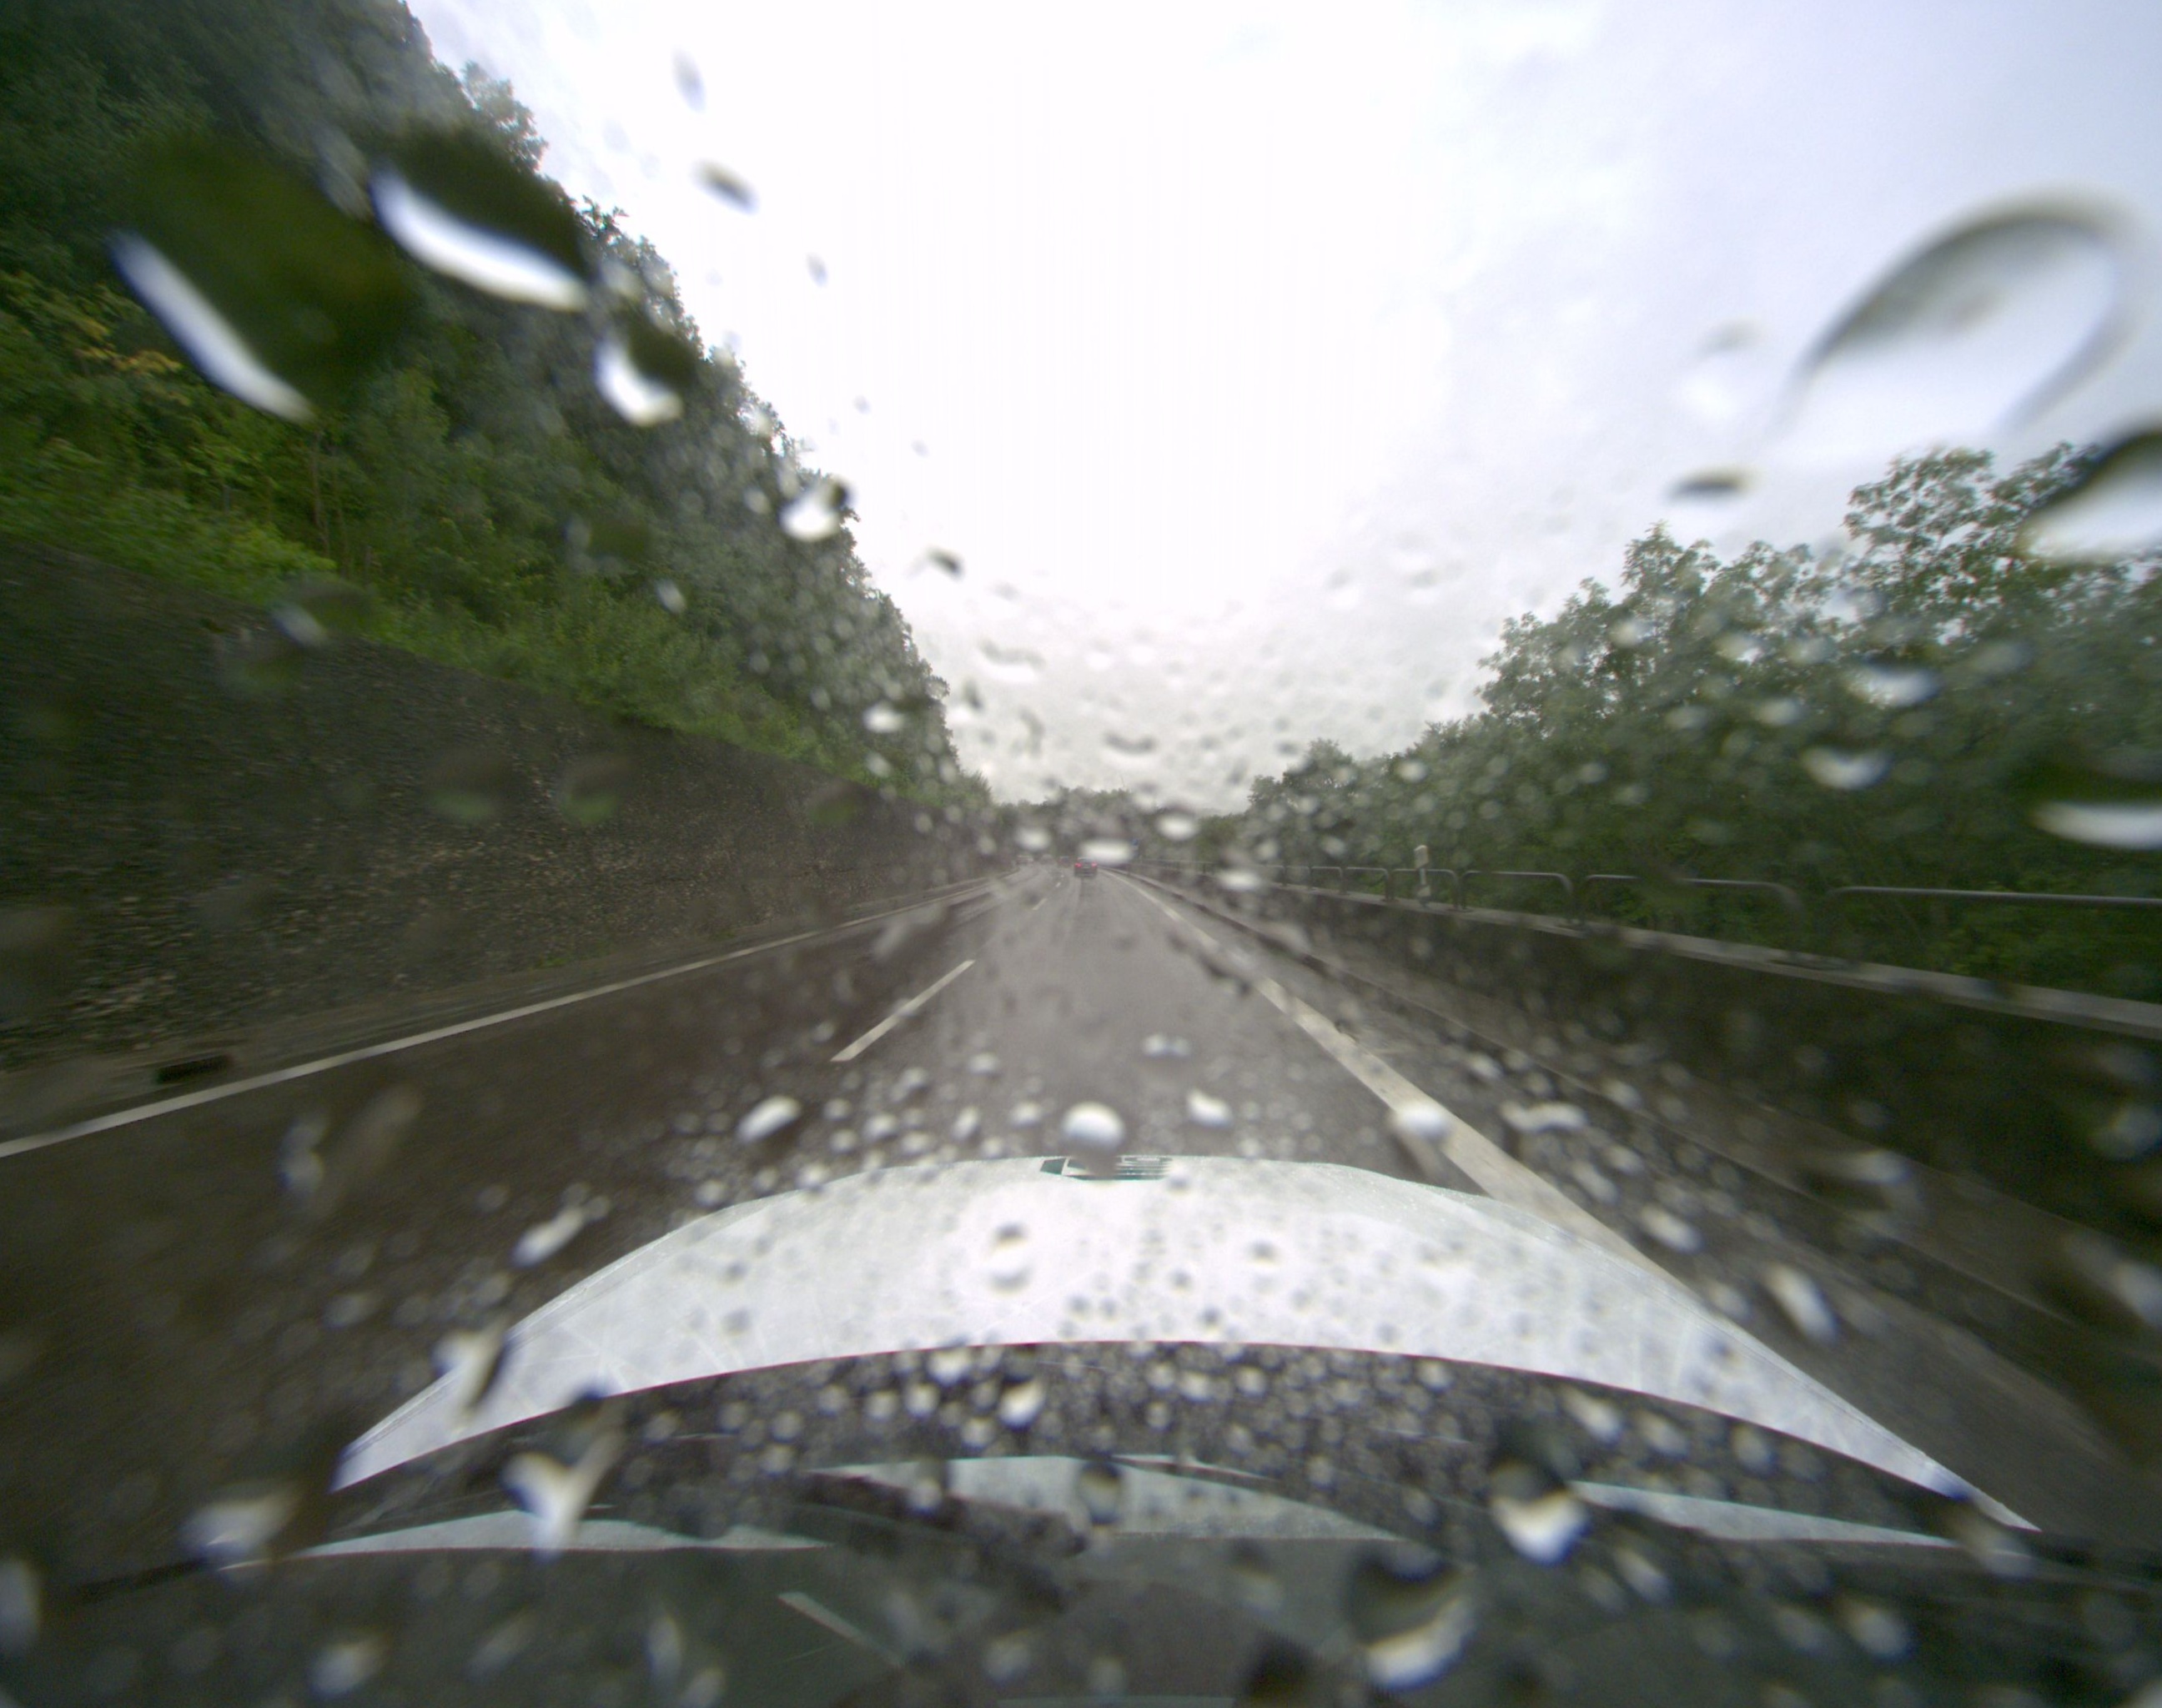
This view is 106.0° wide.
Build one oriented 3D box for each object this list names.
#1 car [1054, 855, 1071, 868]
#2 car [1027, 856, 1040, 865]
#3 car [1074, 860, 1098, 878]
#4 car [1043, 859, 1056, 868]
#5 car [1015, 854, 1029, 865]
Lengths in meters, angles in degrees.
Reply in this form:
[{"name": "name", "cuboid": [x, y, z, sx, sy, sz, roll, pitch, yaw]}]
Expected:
[{"name": "car", "cuboid": [-2.551, 1.033, 111.986, 1.991, 1.750, 3.991, -1, -1, -7]}, {"name": "car", "cuboid": [-8.931, 1.185, 154.053, 1.994, 1.662, 3.986, -2, 0, -10]}, {"name": "car", "cuboid": [0.423, 1.162, 63.237, 1.794, 1.307, 4.002, -1, 0, 2]}, {"name": "car", "cuboid": [-5.372, 1.539, 138.198, 1.799, 1.467, 3.988, -1, 0, -8]}, {"name": "car", "cuboid": [-9.958, 0.971, 137.803, 1.993, 1.904, 3.988, -1, -1, -8]}]
